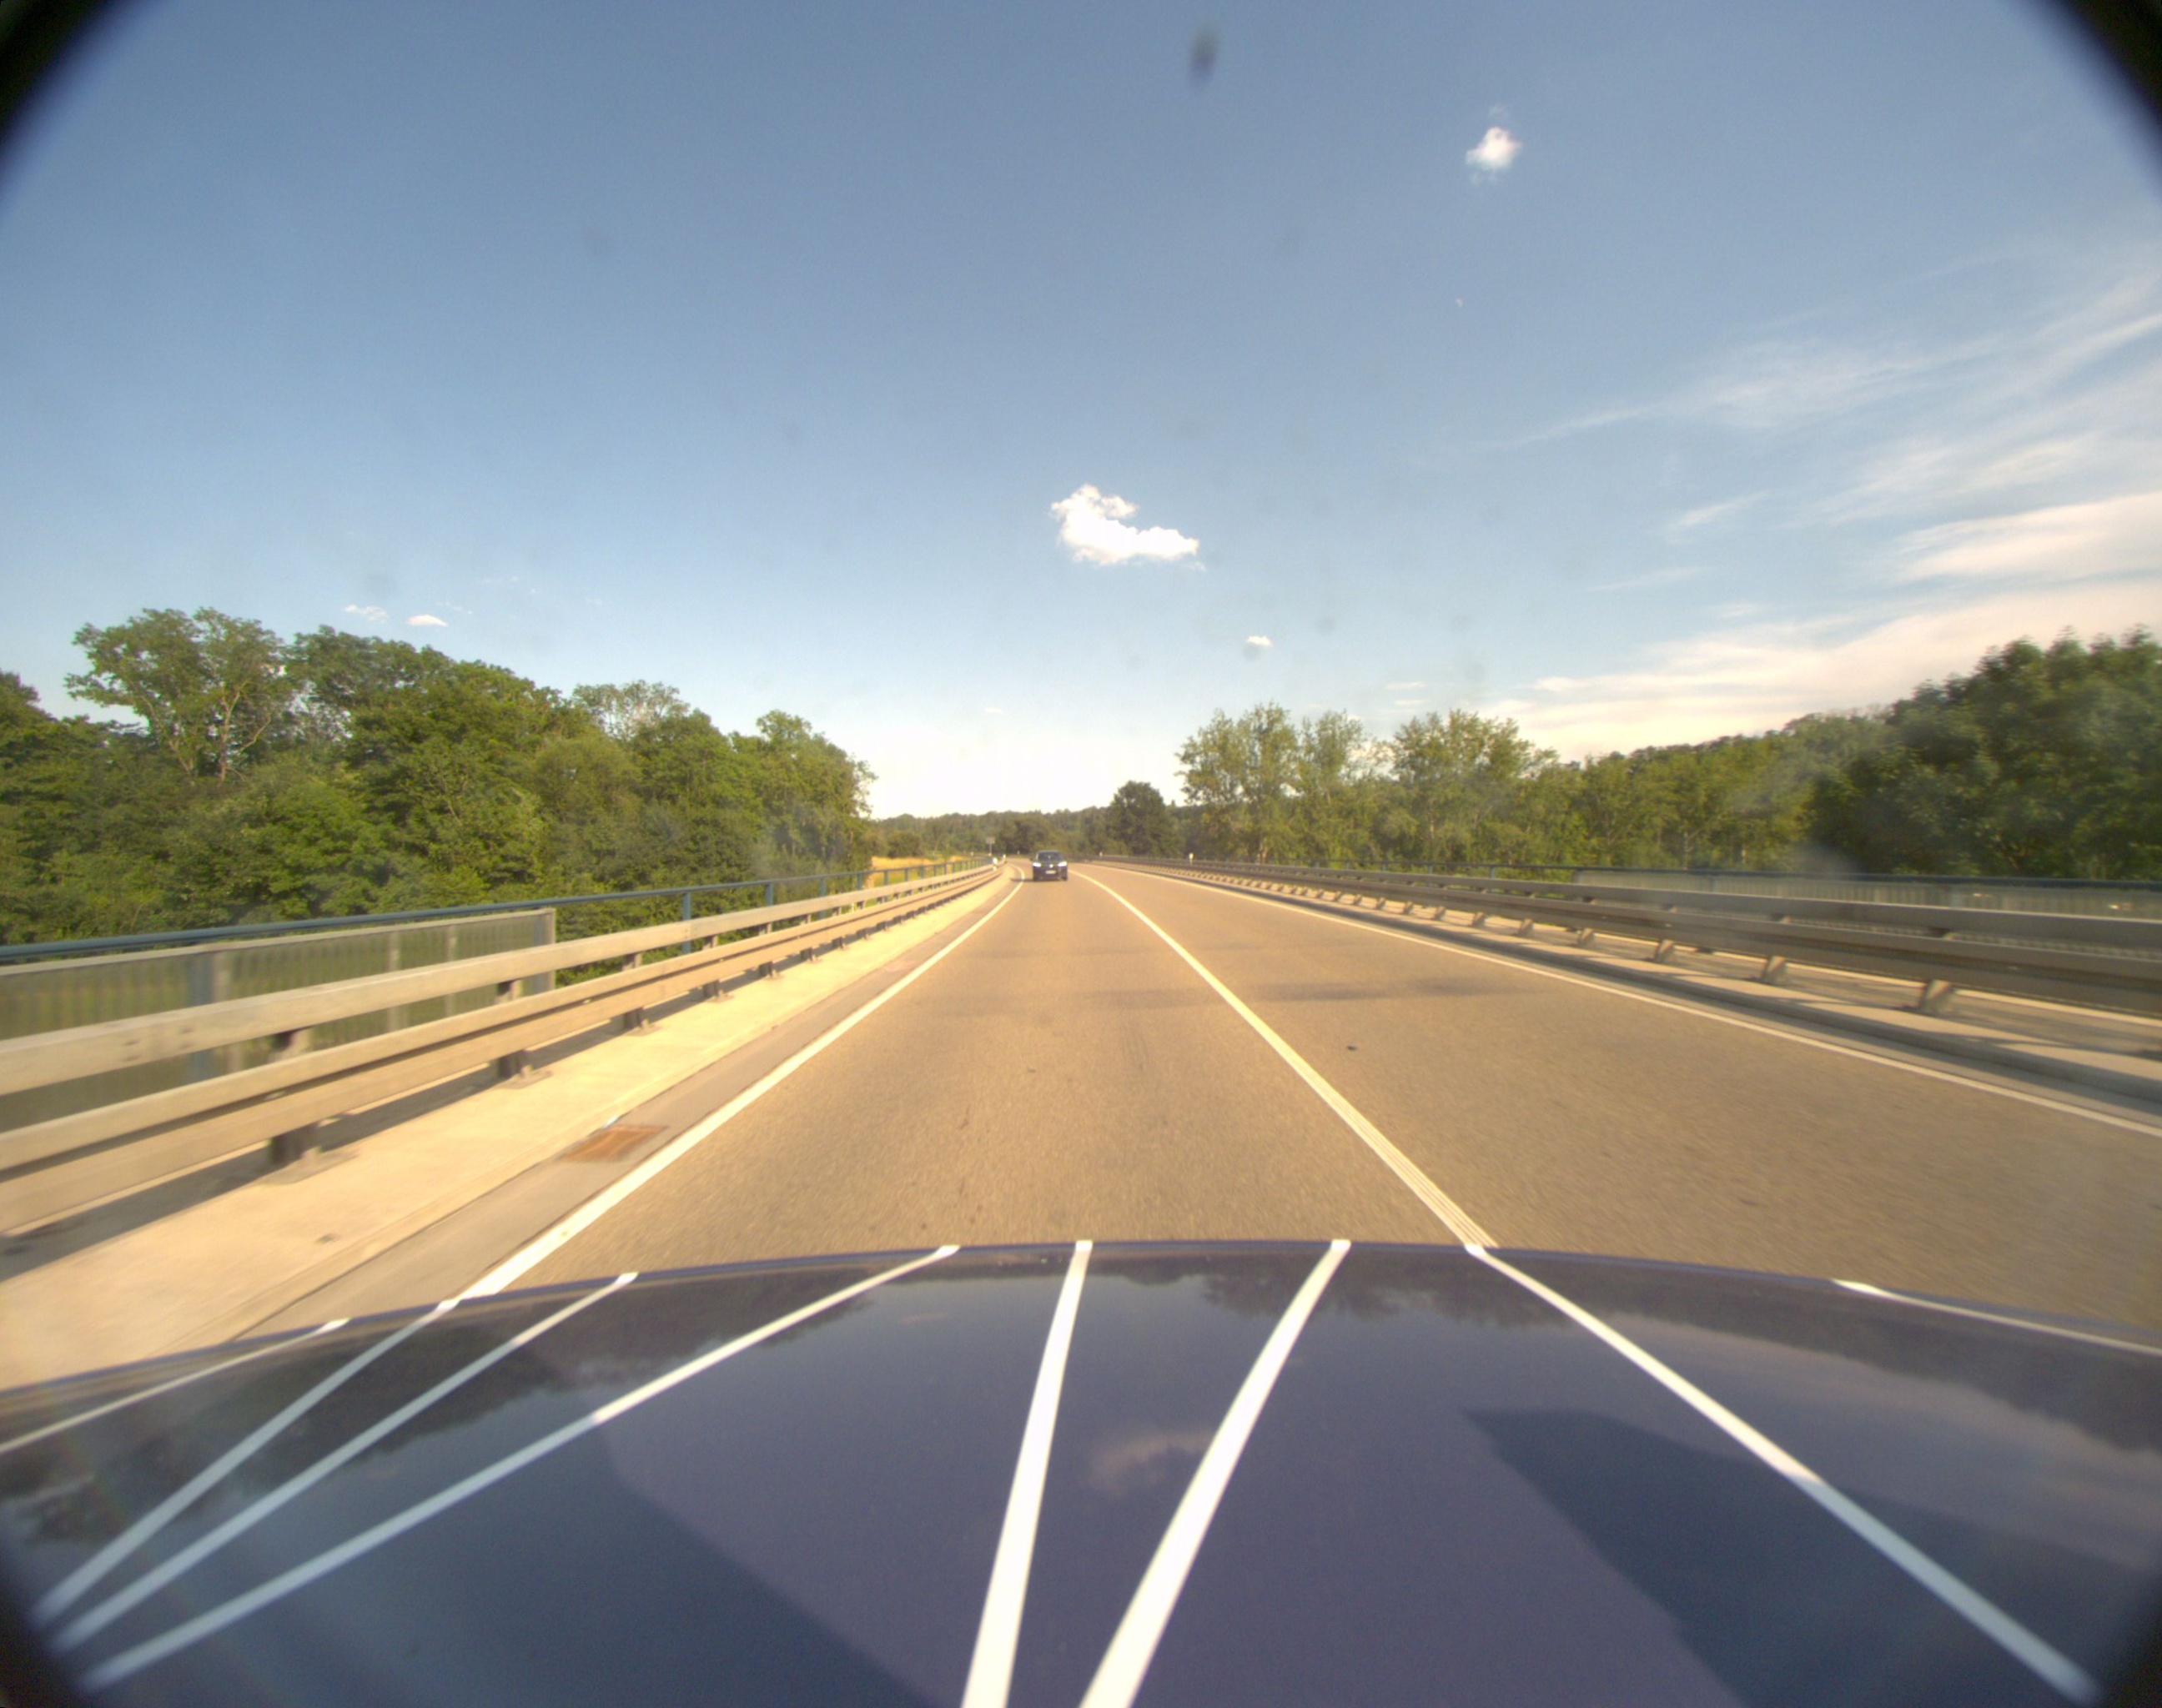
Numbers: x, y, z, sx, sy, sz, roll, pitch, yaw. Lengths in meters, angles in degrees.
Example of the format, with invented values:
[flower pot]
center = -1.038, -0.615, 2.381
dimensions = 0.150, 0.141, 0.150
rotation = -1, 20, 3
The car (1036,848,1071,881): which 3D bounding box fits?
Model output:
[car]
center = -1.522, 0.521, 41.256
dimensions = 1.751, 1.645, 4.304
rotation = -1, 1, -3
